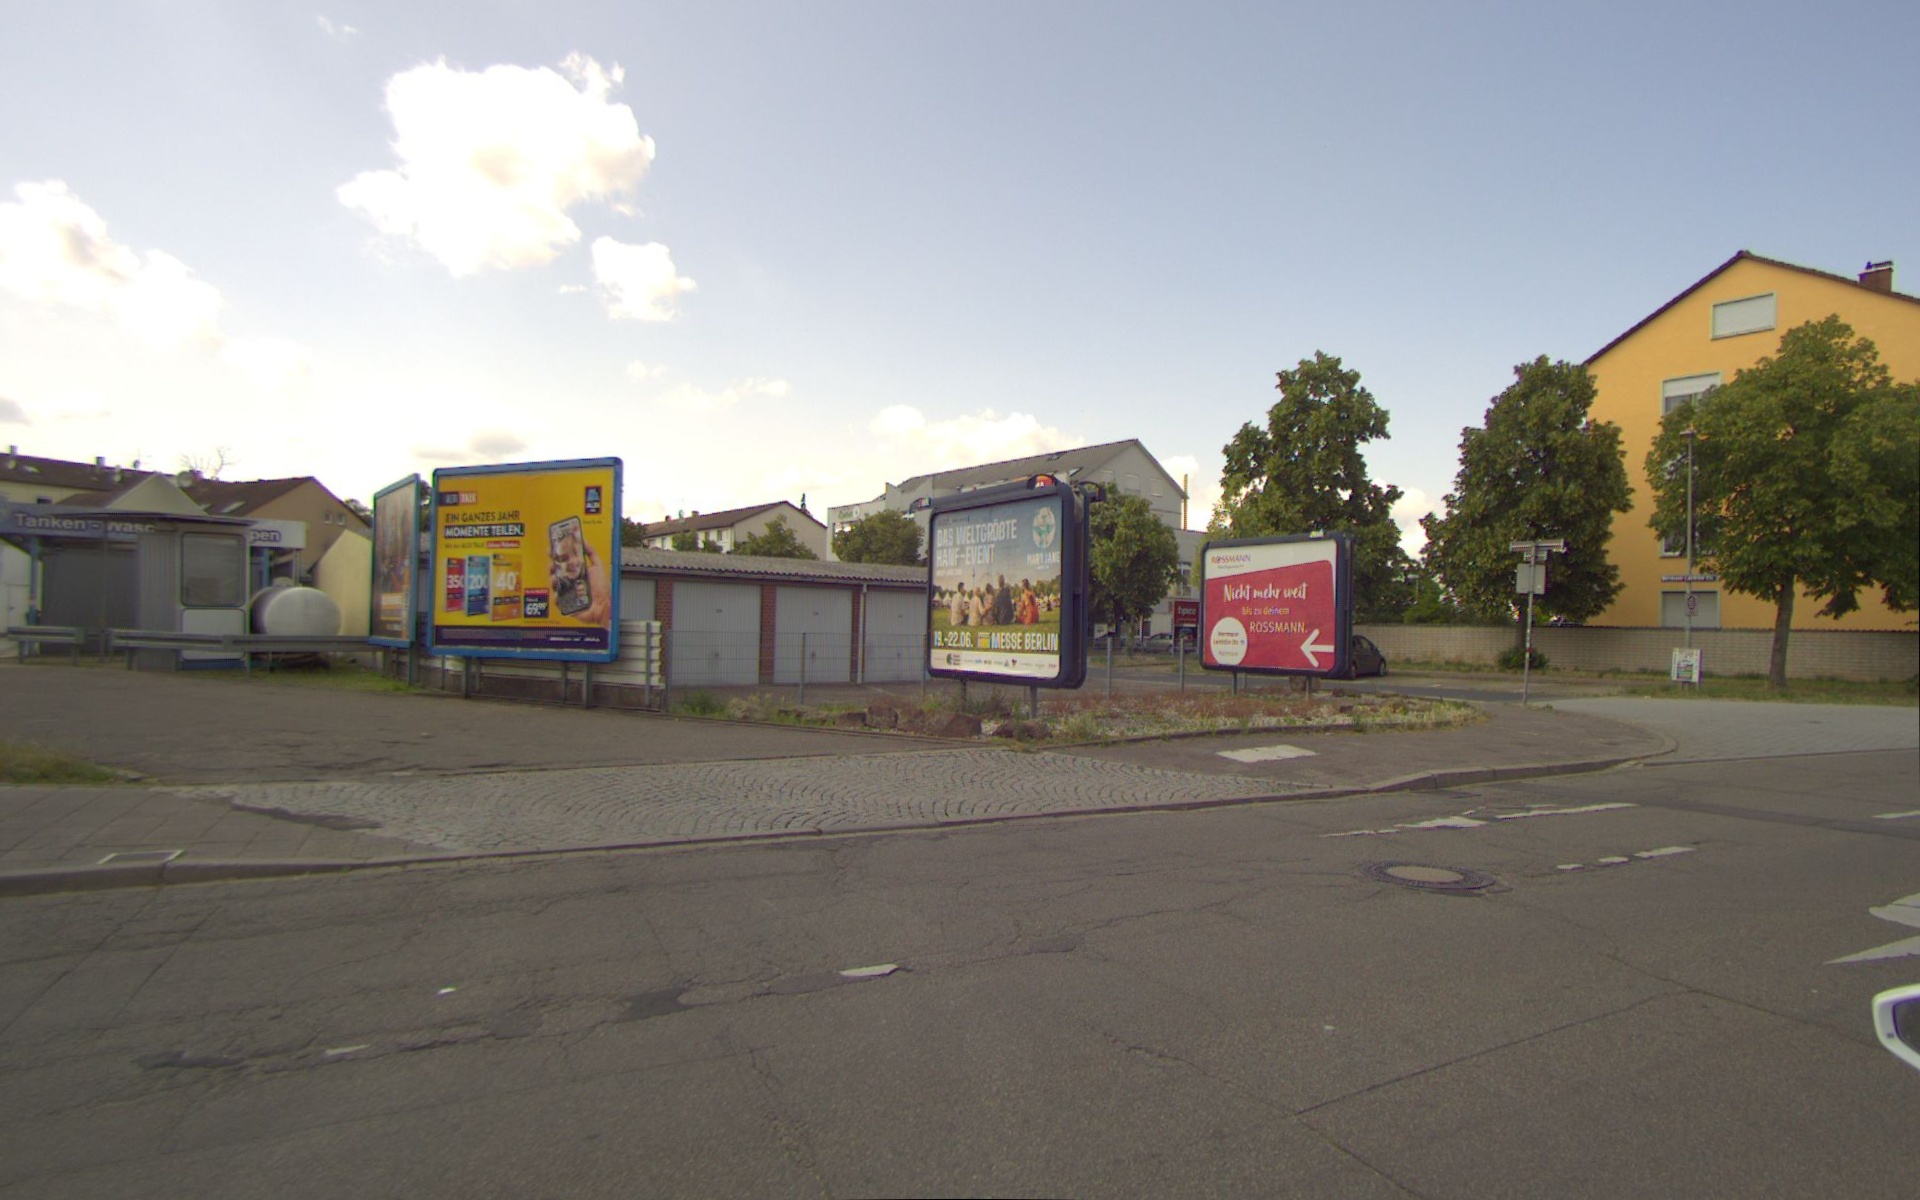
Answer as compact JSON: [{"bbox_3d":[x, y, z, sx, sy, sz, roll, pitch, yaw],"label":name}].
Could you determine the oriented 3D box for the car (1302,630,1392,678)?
[{"bbox_3d":[14.228,1.933,36.853,3.875,1.558,1.630,0,-1,-45],"label":"car"}]

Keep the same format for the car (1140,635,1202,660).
[{"bbox_3d":[14.382,3.219,68.601,3.847,1.613,1.642,-1,-1,44],"label":"car"}]
